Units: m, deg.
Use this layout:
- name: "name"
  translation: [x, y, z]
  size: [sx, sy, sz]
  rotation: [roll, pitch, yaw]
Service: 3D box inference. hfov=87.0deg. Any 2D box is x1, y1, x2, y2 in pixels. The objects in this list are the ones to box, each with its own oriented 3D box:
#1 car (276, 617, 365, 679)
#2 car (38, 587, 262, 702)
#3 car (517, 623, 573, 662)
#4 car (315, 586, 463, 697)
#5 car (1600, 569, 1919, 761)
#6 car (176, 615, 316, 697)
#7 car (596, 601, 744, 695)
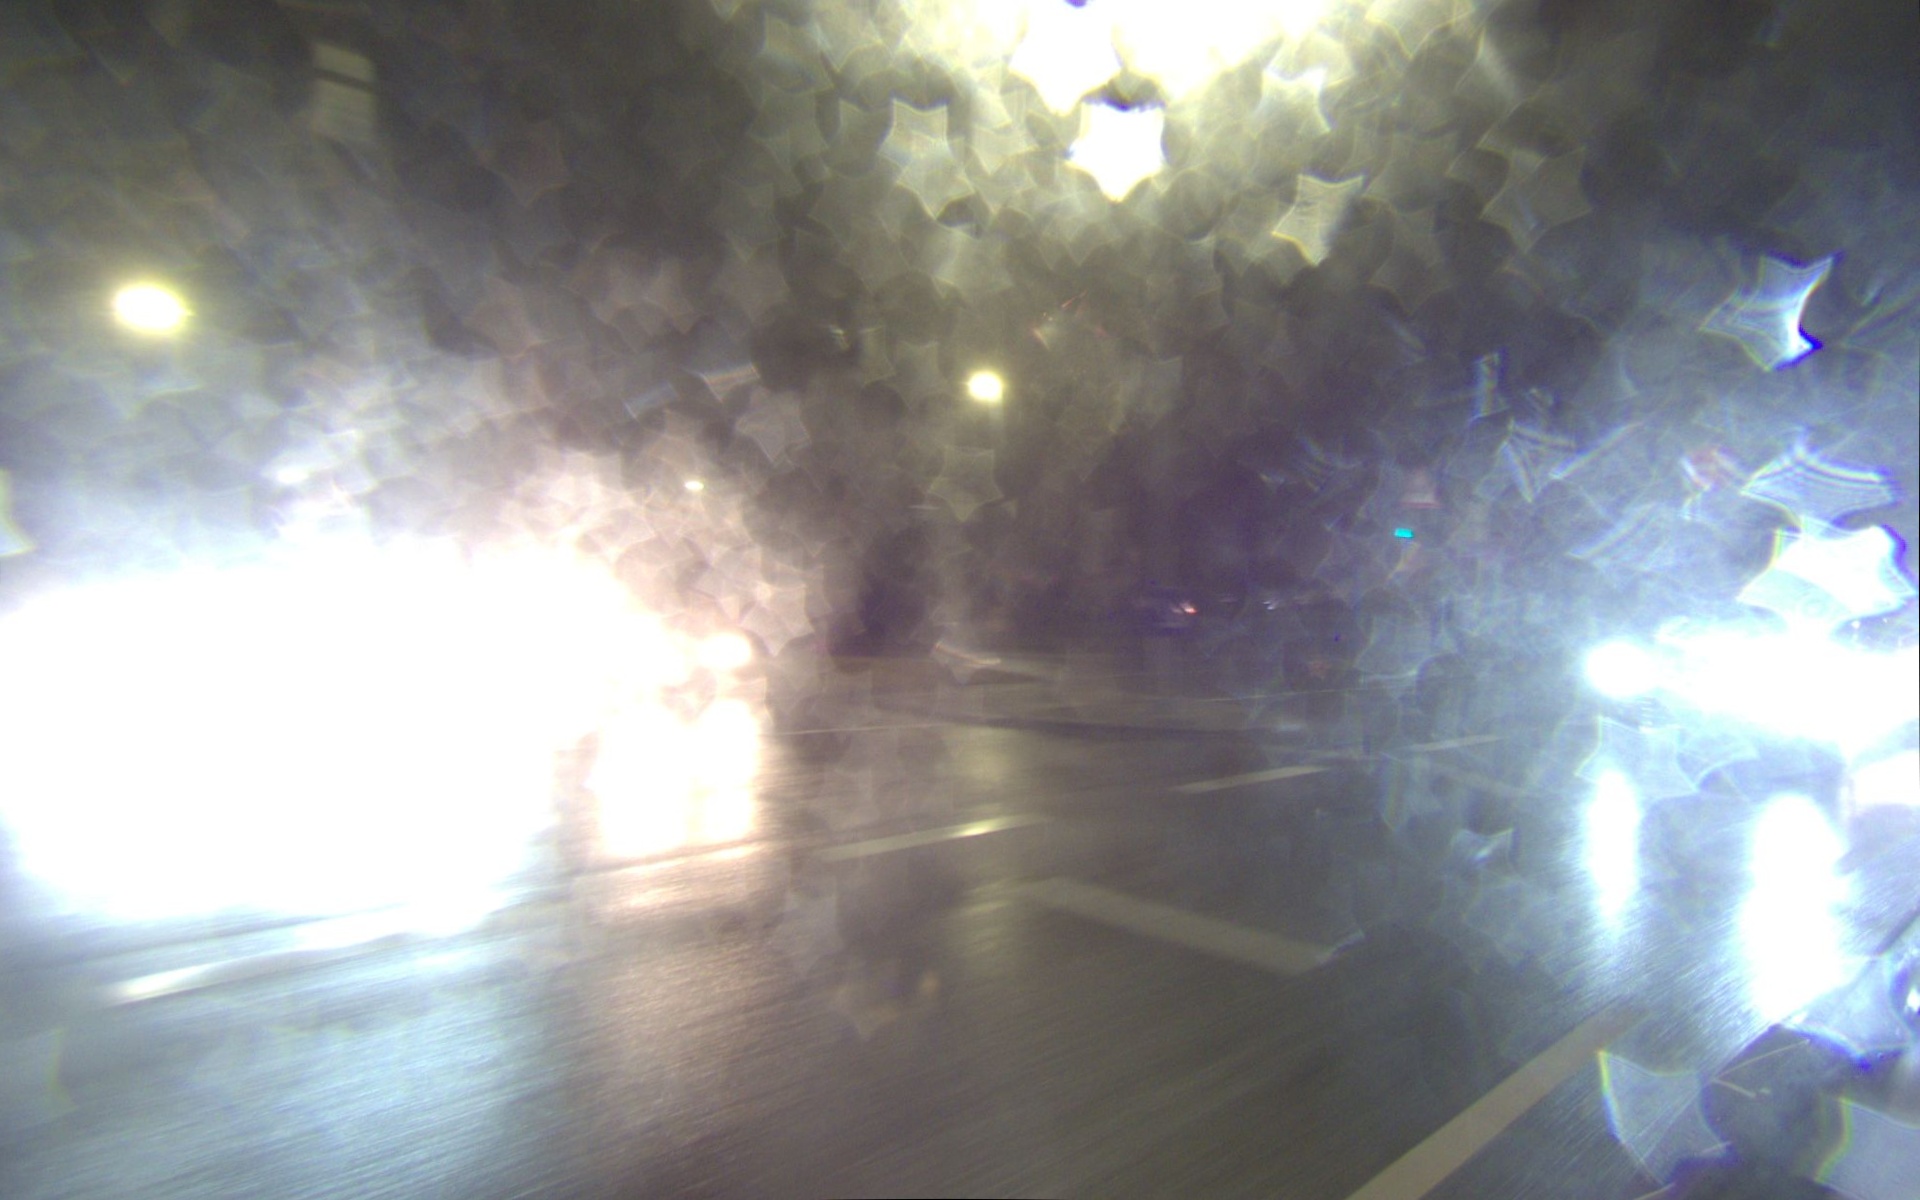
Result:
- name: "car"
  translation: [-19.620, 1.407, 31.192]
  size: [1.788, 1.660, 4.007]
  rotation: [0, 0, -25]
- name: "car"
  translation: [-12.377, 0.595, 15.784]
  size: [1.818, 1.538, 4.184]
  rotation: [0, 0, -26]
- name: "car"
  translation: [-16.782, 1.676, 40.863]
  size: [1.711, 1.363, 3.916]
  rotation: [0, 0, -28]
- name: "car"
  translation: [-9.170, 0.583, 16.571]
  size: [1.818, 1.538, 4.504]
  rotation: [0, 0, -26]
- name: "car"
  translation: [8.275, 0.499, 10.012]
  size: [4.473, 1.525, 1.678]
  rotation: [0, 0, -35]
- name: "car"
  translation: [-15.461, 1.139, 22.144]
  size: [1.818, 1.538, 4.184]
  rotation: [0, 0, -26]
- name: "car"
  translation: [-4.935, 0.702, 16.854]
  size: [1.711, 1.363, 4.062]
  rotation: [0, 0, -26]
